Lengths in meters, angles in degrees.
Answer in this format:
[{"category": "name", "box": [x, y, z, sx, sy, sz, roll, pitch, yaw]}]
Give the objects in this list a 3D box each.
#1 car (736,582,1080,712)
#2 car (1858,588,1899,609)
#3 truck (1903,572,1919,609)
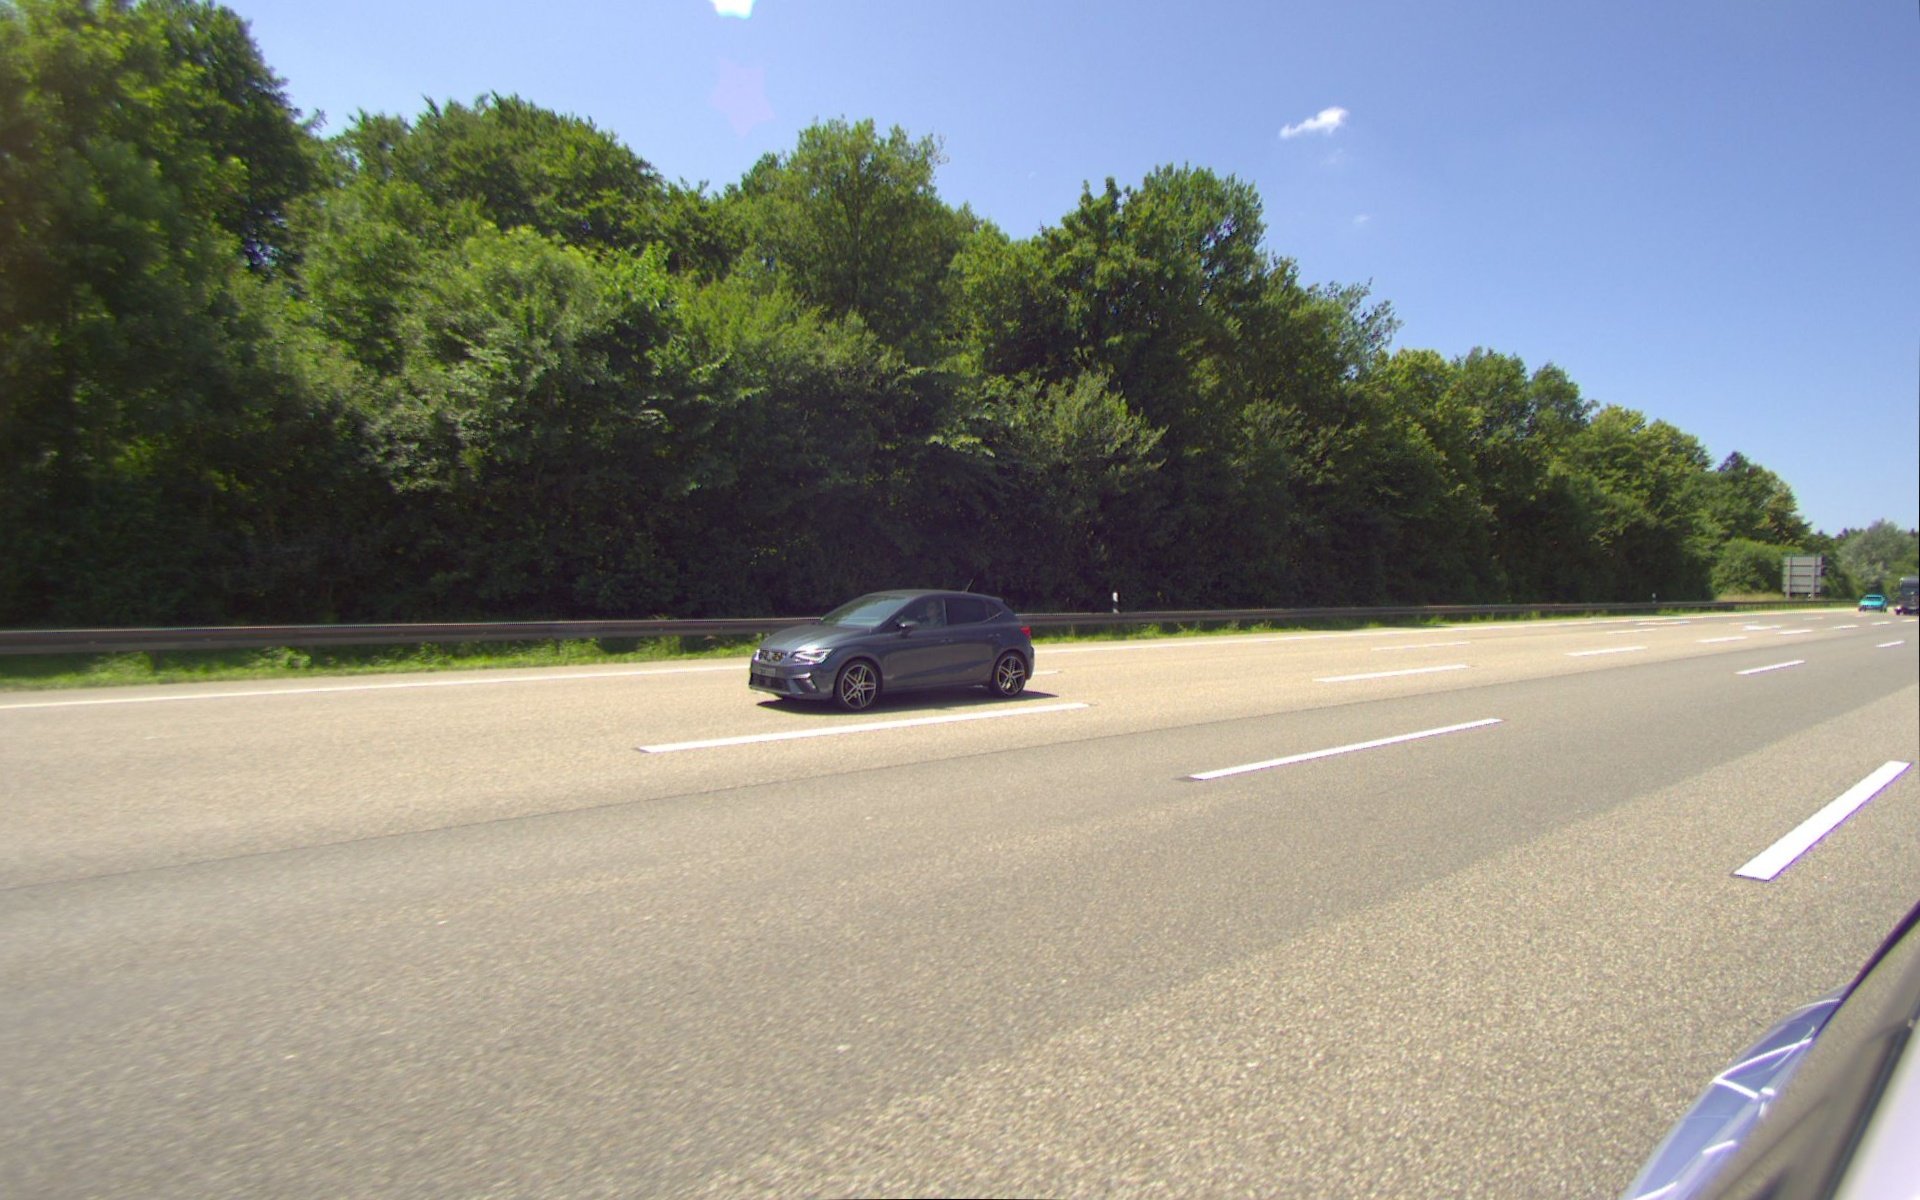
[{"category": "car", "box": [-0.545, 0.513, 13.491, 4.554, 1.457, 1.646, 0, 0, -41]}, {"category": "car", "box": [80.171, -0.165, 88.300, 4.053, 1.701, 1.999, 0, 3, -39]}, {"category": "truck", "box": [78.950, -0.731, 81.656, 10.689, 2.891, 2.661, 0, 3, -39]}]
